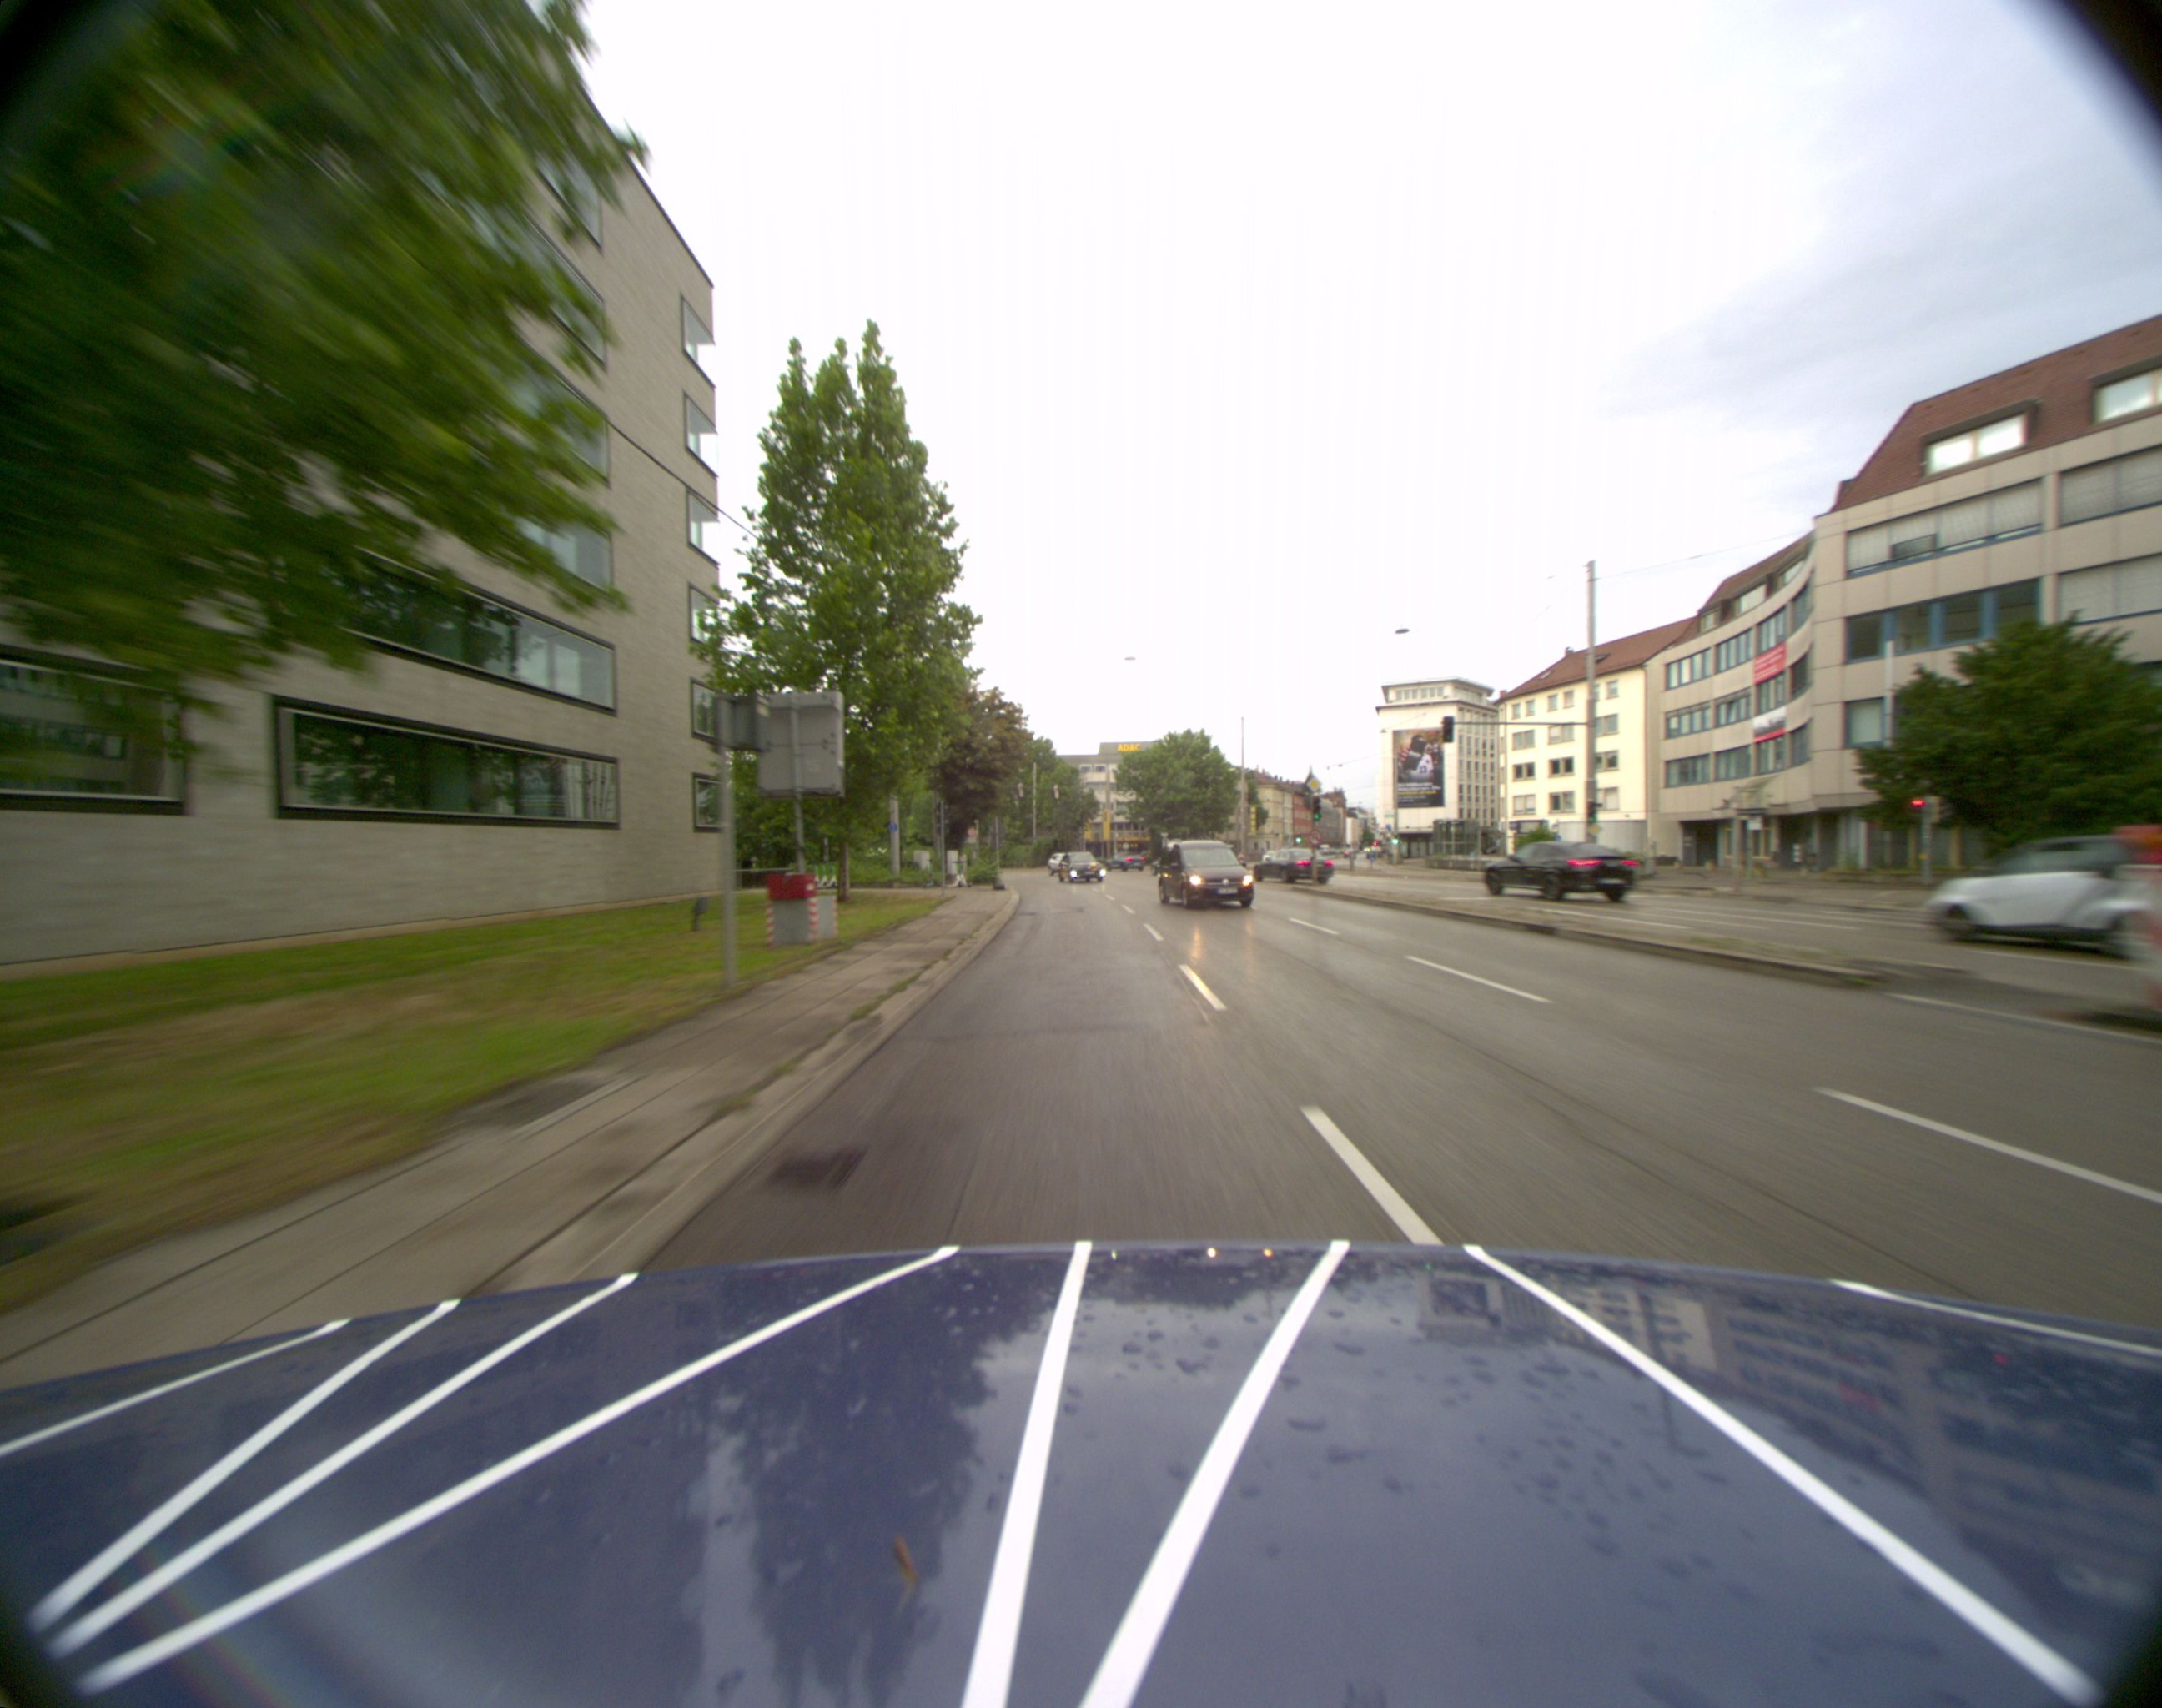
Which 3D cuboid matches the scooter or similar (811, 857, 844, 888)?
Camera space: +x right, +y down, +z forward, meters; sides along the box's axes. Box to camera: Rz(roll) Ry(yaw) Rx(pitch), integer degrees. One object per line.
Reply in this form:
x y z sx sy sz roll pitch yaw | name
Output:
-10.994 0.805 32.951 1.241 1.305 0.554 0 1 -3 | scooter or similar

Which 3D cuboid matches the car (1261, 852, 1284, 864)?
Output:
22.277 0.449 88.289 1.995 1.442 4.236 0 1 24 | car

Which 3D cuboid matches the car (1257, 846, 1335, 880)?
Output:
11.205 0.427 39.968 1.773 1.672 4.584 0 1 -16 | car

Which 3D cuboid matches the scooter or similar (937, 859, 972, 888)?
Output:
-5.368 0.820 32.316 0.687 1.194 1.341 1 1 38 | scooter or similar

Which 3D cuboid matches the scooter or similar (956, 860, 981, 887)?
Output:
-4.952 0.843 33.421 0.638 1.122 1.590 0 1 -25 | scooter or similar

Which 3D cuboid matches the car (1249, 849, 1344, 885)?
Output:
9.194 0.511 32.916 2.000 1.430 4.932 0 0 -10 | car

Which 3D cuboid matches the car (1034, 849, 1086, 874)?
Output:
-1.584 0.516 55.818 2.003 1.735 4.644 0 1 -28 | car

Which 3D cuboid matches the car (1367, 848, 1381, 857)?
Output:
48.641 -0.237 126.022 1.871 1.568 4.007 0 1 27 | car

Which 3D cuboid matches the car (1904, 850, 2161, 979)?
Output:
13.266 0.706 10.077 1.559 1.476 2.950 0 0 2 | car

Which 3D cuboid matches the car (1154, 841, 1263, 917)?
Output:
3.319 0.600 20.614 1.796 1.789 4.122 -2 0 -7 | car

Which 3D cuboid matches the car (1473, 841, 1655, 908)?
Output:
13.450 0.521 21.641 1.999 1.667 4.937 1 0 -1 | car

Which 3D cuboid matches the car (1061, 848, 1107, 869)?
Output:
0.188 0.377 61.960 1.862 1.613 4.581 1 0 -28 | car

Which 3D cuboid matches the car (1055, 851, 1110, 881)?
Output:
0.002 0.609 41.332 1.933 1.532 3.994 -1 1 -16 | car

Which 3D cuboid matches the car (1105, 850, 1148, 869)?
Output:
3.674 0.419 62.134 1.826 1.503 4.224 0 1 -23 | car

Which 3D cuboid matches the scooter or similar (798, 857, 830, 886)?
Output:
-11.934 0.789 33.991 1.241 1.305 0.472 0 1 -3 | scooter or similar

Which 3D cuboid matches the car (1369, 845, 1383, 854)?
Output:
52.569 -0.787 135.385 1.871 1.568 4.007 0 1 27 | car

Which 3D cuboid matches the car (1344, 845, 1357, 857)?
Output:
45.107 -0.512 127.350 1.995 1.832 4.446 0 1 20 | car

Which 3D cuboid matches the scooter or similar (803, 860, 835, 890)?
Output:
-11.521 0.937 33.475 1.241 1.305 0.472 0 1 -3 | scooter or similar

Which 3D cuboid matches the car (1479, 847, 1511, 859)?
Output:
52.450 -0.140 96.180 4.007 1.581 1.913 0 1 -34 | car

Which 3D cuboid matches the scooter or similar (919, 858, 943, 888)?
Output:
-6.245 0.773 31.655 0.563 1.194 1.326 0 1 7 | scooter or similar
